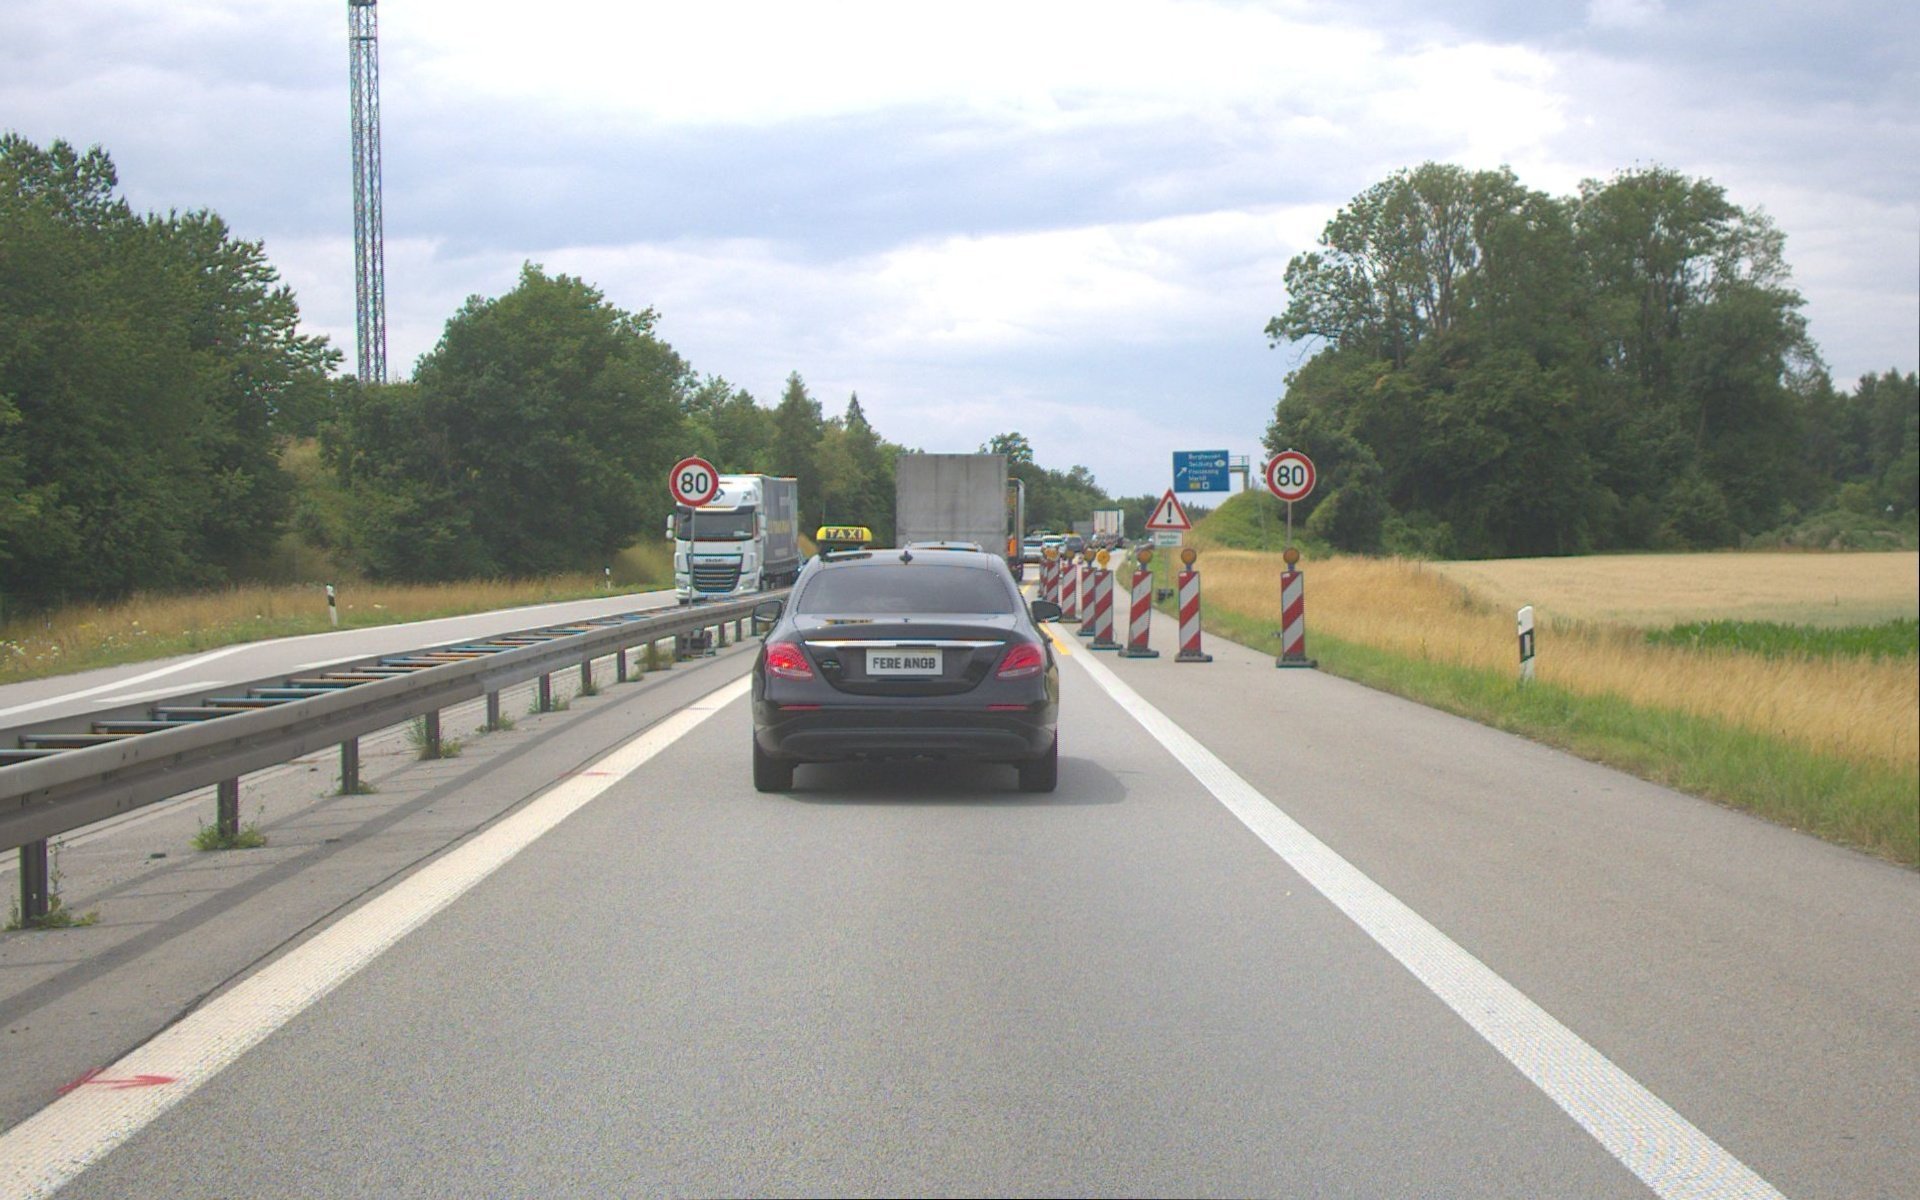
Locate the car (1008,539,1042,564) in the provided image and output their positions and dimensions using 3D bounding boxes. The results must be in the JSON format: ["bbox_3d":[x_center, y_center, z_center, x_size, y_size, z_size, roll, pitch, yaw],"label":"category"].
[{"bbox_3d":[3.660,-2.735,194.796,1.649,1.391,3.706,1,0,-3],"label":"car"}]

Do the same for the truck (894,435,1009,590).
[{"bbox_3d":[-0.200,-2.016,81.030,2.587,3.512,4.813,1,0,0],"label":"truck"}]

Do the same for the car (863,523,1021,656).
[{"bbox_3d":[-0.328,-0.173,54.445,1.993,2.007,4.001,1,0,-8],"label":"car"}]

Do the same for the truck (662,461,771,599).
[{"bbox_3d":[-7.574,-2.146,107.691,2.799,4.128,7.228,1,0,0],"label":"truck"}]

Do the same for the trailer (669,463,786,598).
[{"bbox_3d":[-7.550,-2.205,113.188,2.799,4.158,13.564,1,0,0],"label":"trailer"}]

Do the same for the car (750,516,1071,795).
[{"bbox_3d":[-0.307,0.301,21.399,1.795,1.554,4.000,1,0,-1],"label":"car"}]
